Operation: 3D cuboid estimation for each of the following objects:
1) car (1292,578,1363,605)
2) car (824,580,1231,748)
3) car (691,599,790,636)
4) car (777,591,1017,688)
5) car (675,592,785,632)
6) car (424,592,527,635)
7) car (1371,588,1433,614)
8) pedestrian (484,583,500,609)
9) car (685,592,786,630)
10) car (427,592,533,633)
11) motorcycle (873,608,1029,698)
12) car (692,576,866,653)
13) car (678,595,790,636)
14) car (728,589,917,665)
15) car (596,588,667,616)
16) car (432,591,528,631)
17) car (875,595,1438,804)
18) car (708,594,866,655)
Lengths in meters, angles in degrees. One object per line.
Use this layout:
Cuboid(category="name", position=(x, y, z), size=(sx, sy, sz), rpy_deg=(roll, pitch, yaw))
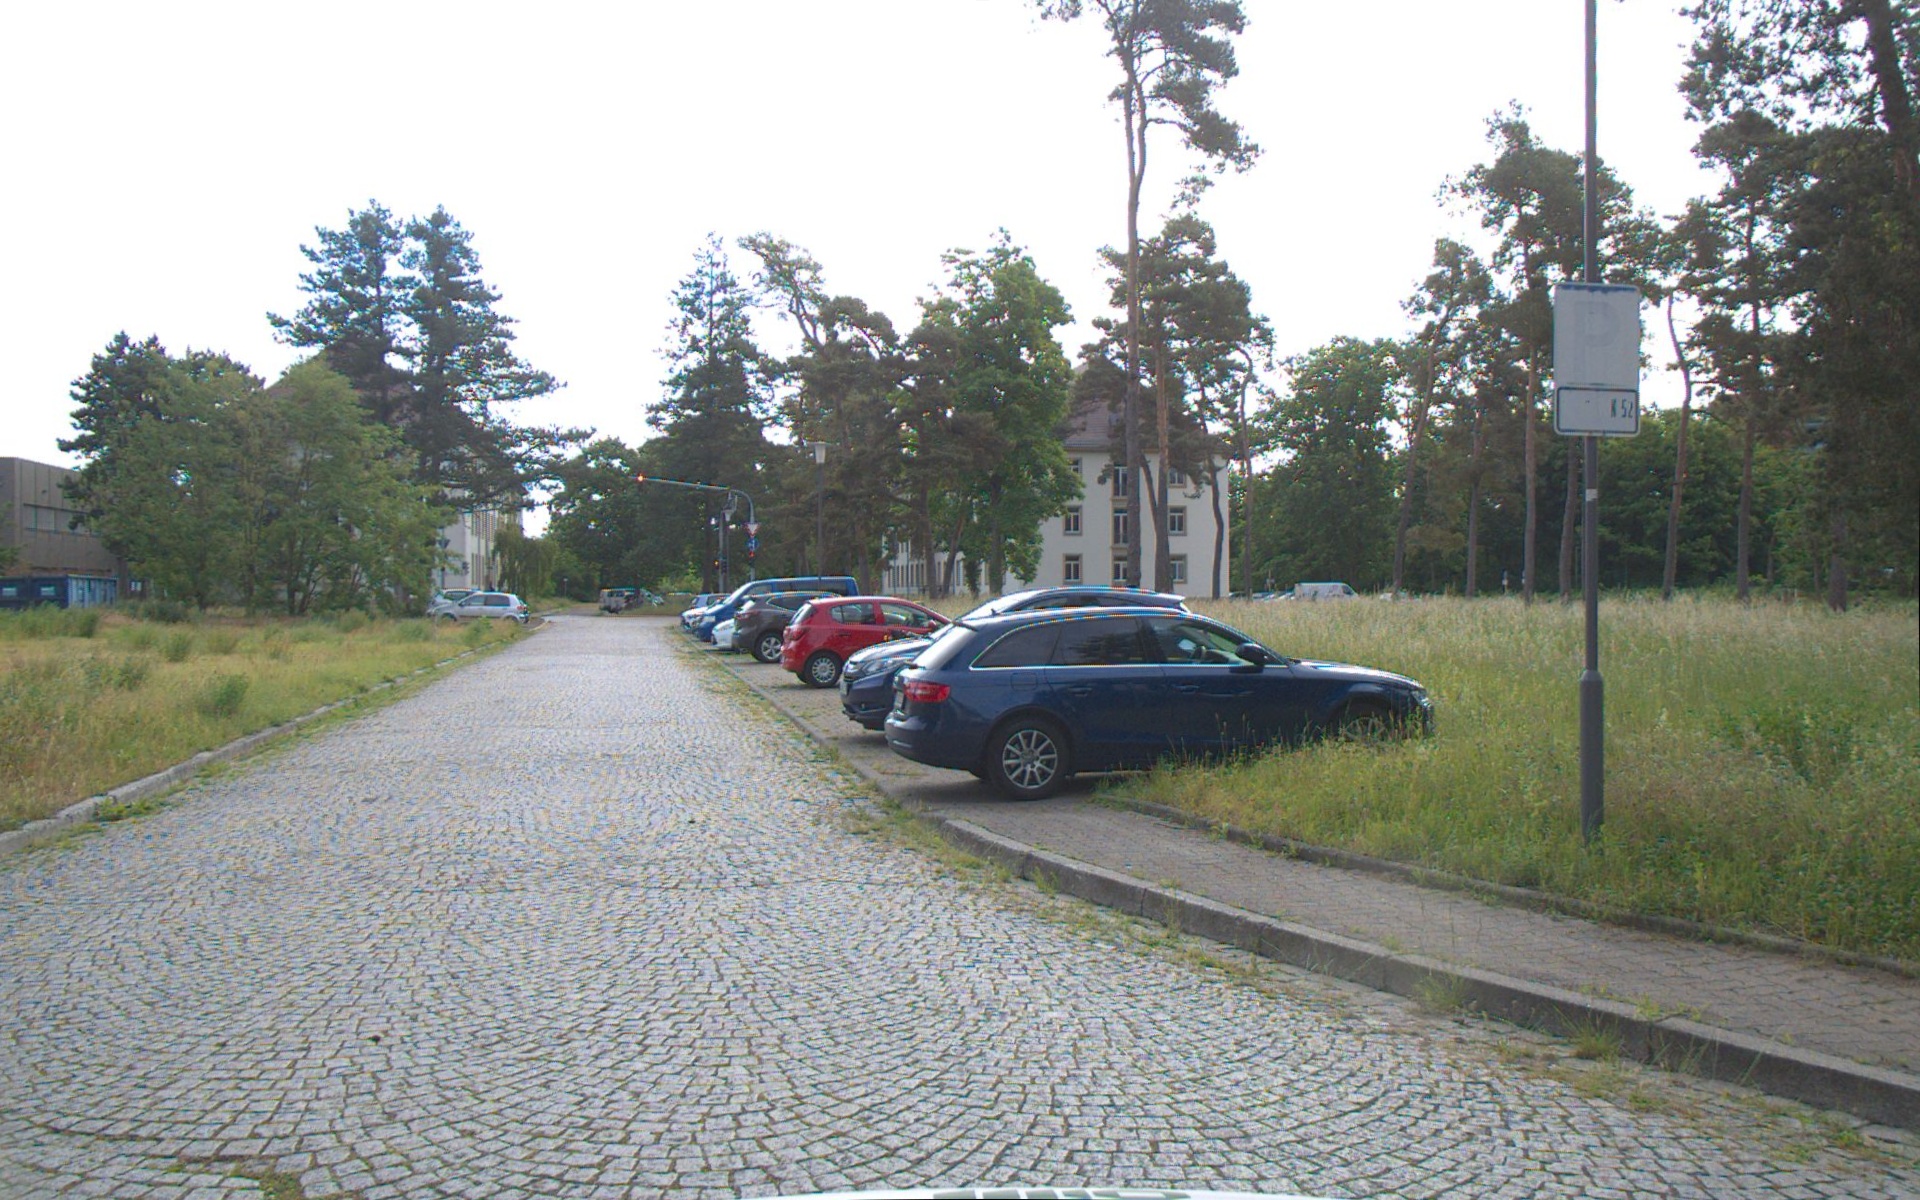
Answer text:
Cuboid(category="car", position=(29.569, -0.671, 133.196), size=(5.206, 2.055, 2.100), rpy_deg=(1, 0, -11))
Cuboid(category="car", position=(0.699, 0.647, 18.407), size=(4.172, 1.651, 1.880), rpy_deg=(-1, 0, -14))
Cuboid(category="car", position=(-8.053, 0.630, 60.600), size=(3.522, 1.244, 1.624), rpy_deg=(-1, 1, -11))
Cuboid(category="car", position=(-1.117, 0.642, 28.526), size=(3.856, 1.522, 1.779), rpy_deg=(-1, 0, -14))
Cuboid(category="car", position=(-9.443, 0.461, 67.921), size=(4.171, 1.505, 1.698), rpy_deg=(-2, 1, -23))
Cuboid(category="car", position=(-21.235, 0.585, 72.517), size=(4.230, 1.762, 1.645), rpy_deg=(-1, 0, -17))
Cuboid(category="car", position=(32.834, 0.050, 122.955), size=(4.058, 1.835, 1.895), rpy_deg=(1, 0, -10))
Cuboid(category="pedestrian", position=(-36.909, -0.327, 130.483), size=(1.055, 1.993, 1.118), rpy_deg=(1, -1, -12))
Cuboid(category="car", position=(-9.564, 0.470, 70.500), size=(4.070, 1.489, 1.626), rpy_deg=(-1, 1, -17))
Cuboid(category="car", position=(-20.259, 0.522, 69.867), size=(4.231, 1.581, 1.803), rpy_deg=(-1, 1, -18))
Cuboid(category="motorcycle", position=(-0.137, 0.761, 24.148), size=(2.192, 1.223, 0.566), rpy_deg=(-2, 0, -14))
Cuboid(category="car", position=(-5.190, 0.378, 47.237), size=(4.714, 2.039, 1.959), rpy_deg=(-1, 0, -14))
Cuboid(category="car", position=(-8.906, 0.595, 65.214), size=(4.122, 1.462, 1.745), rpy_deg=(-1, 1, -19))
Cuboid(category="car", position=(-3.233, 0.602, 38.580), size=(4.133, 1.622, 1.946), rpy_deg=(-1, 1, -14))
Cuboid(category="car", position=(-26.819, 0.152, 135.027), size=(5.306, 2.138, 2.162), rpy_deg=(-1, 0, -24))
Cuboid(category="car", position=(-19.517, 0.460, 67.379), size=(3.658, 1.506, 1.667), rpy_deg=(2, 0, -15))
Cuboid(category="car", position=(1.539, 0.745, 13.752), size=(4.278, 1.464, 1.922), rpy_deg=(-1, 0, -10))
Cuboid(category="car", position=(-4.701, 0.637, 44.747), size=(4.030, 1.504, 1.715), rpy_deg=(-1, 1, -15))
